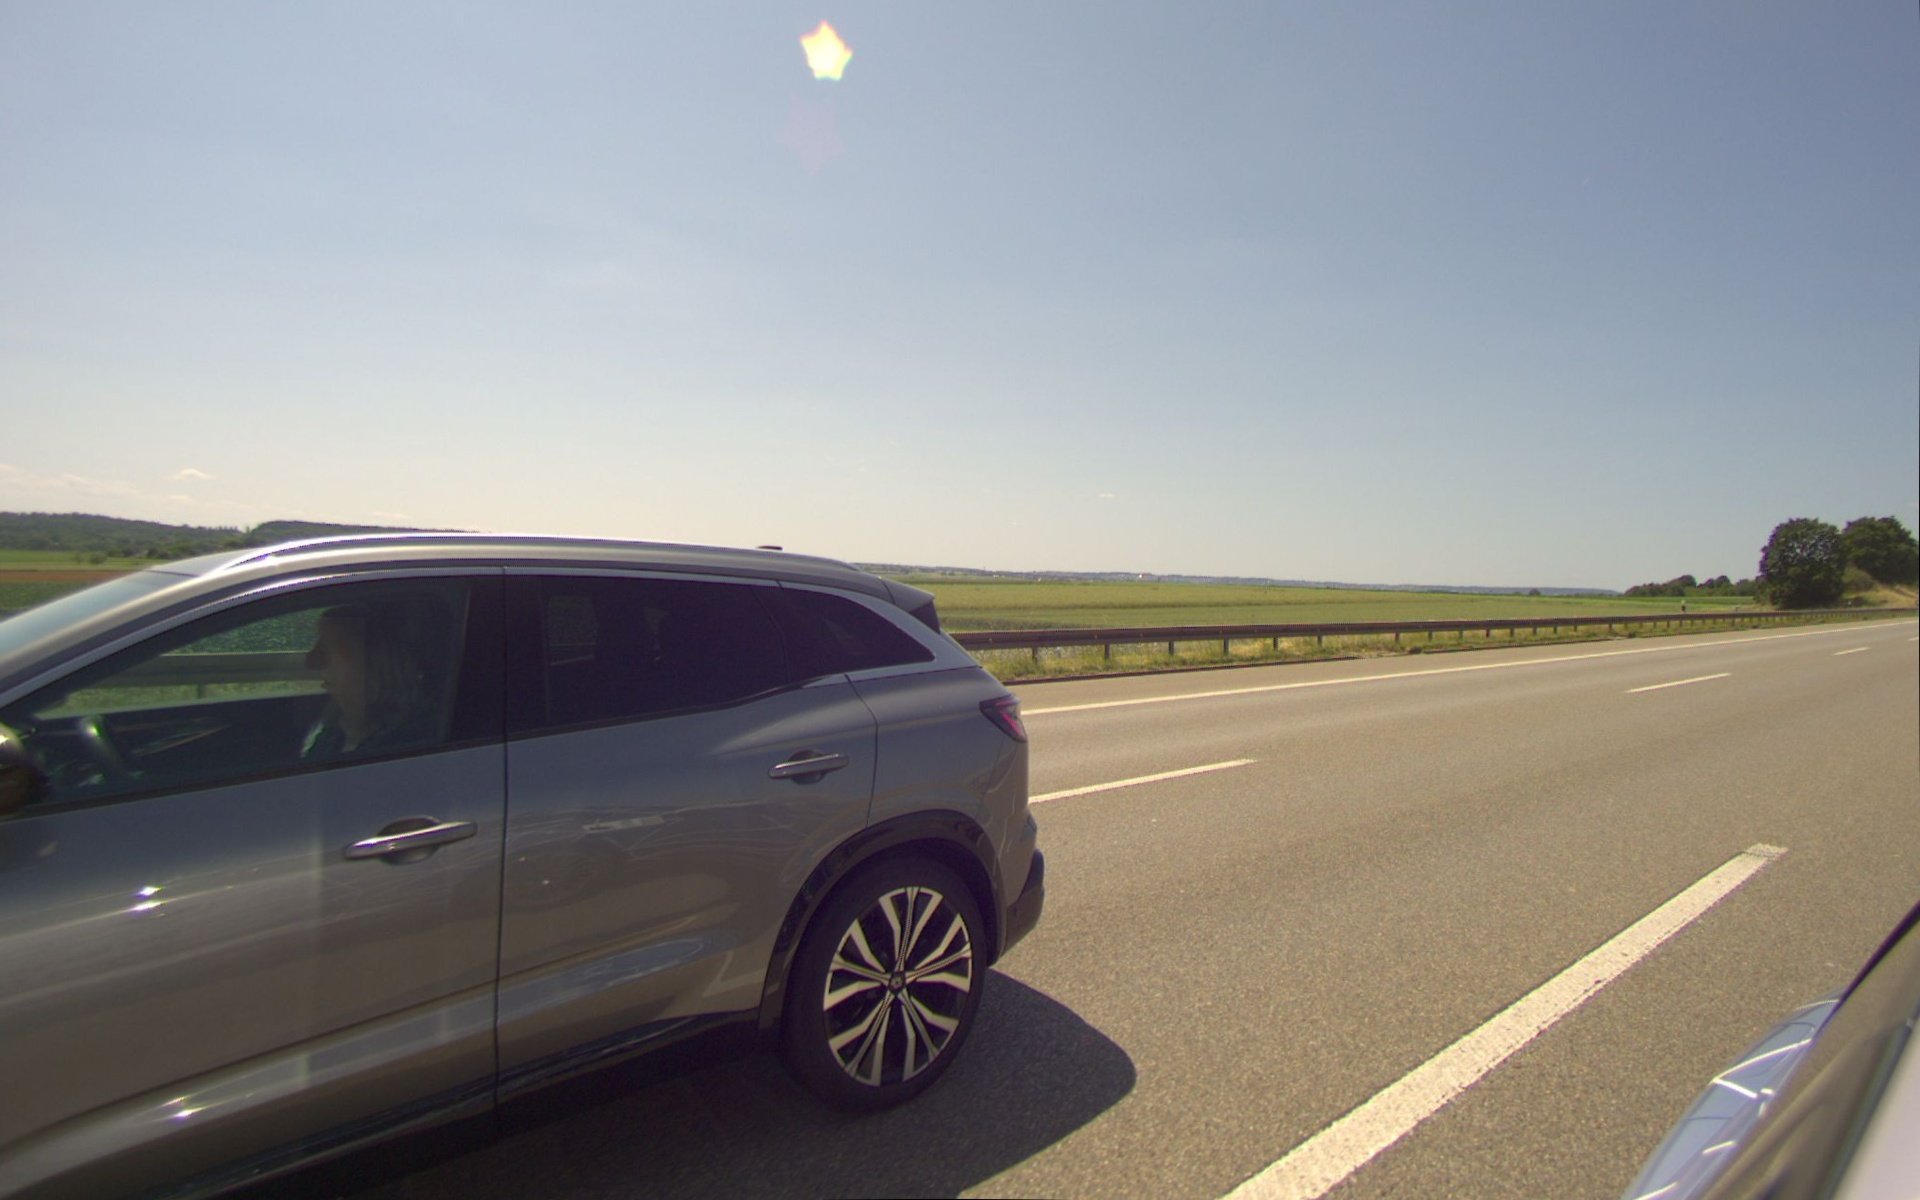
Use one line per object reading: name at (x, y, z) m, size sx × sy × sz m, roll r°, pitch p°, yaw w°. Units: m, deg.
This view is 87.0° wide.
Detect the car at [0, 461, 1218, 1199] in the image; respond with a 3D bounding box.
car at (-1.353, 0.614, 3.027) m, size 4.564 × 1.669 × 1.854 m, roll 0°, pitch -1°, yaw -41°
